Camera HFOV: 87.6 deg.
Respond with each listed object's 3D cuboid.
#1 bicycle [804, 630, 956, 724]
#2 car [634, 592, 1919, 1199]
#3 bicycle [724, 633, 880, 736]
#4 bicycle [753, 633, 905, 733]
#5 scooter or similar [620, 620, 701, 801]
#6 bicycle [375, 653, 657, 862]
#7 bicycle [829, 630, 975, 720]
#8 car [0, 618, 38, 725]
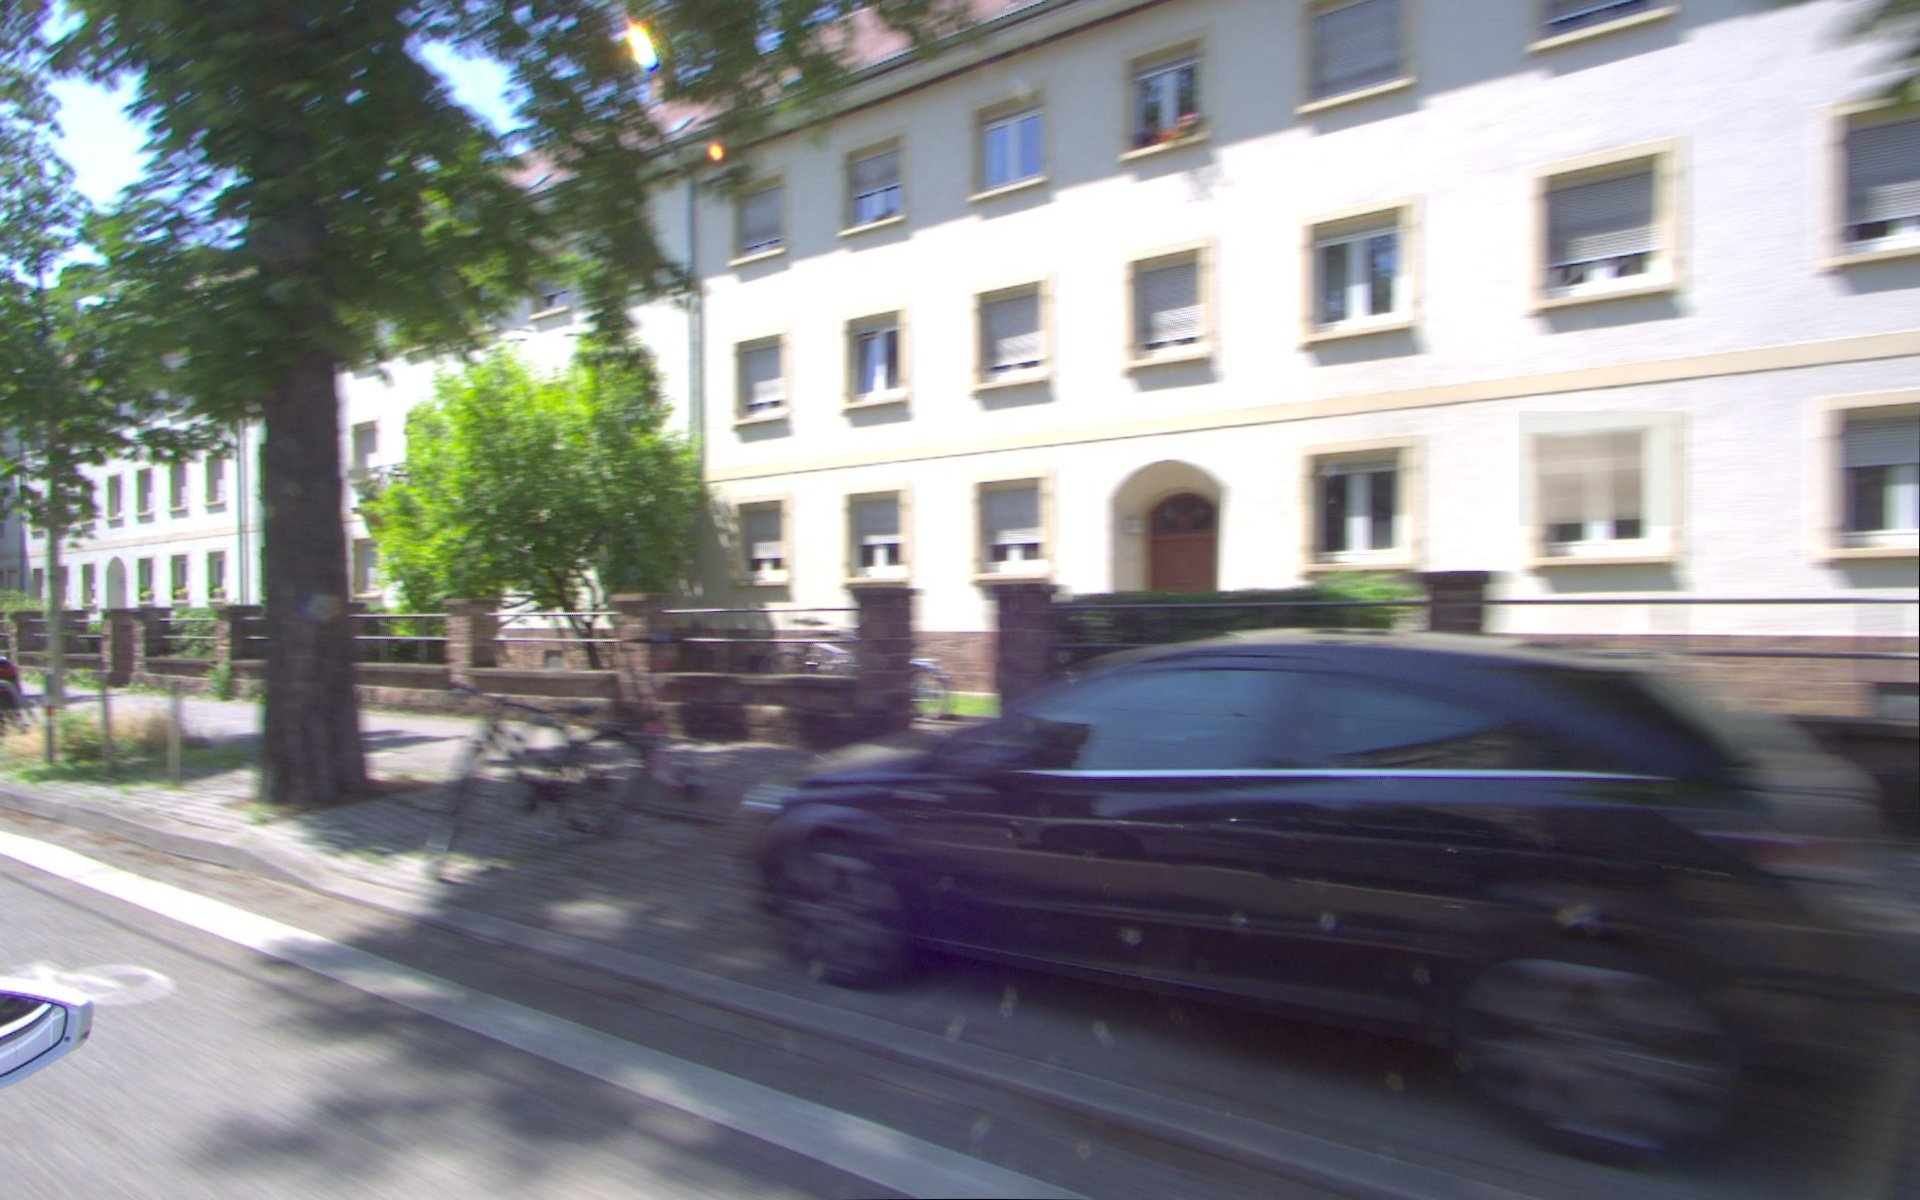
[{"bbox_3d":[-0.995,0.921,12.319,1.894,1.092,0.478,-1,-1,27],"label":"bicycle"},{"bbox_3d":[0.816,0.742,4.134,4.292,1.437,1.693,0,-1,30],"label":"car"},{"bbox_3d":[-1.803,0.915,11.269,1.897,1.092,0.478,-1,-2,32],"label":"bicycle"},{"bbox_3d":[-1.553,0.934,11.678,1.897,1.092,0.478,-1,-2,32],"label":"bicycle"},{"bbox_3d":[-2.369,0.815,7.850,0.374,1.230,1.241,1,3,-27],"label":"scooter or similar"},{"bbox_3d":[-2.721,0.906,6.335,0.596,1.092,1.653,0,-1,25],"label":"bicycle"},{"bbox_3d":[-0.757,0.929,12.792,1.894,1.092,0.478,-1,-1,27],"label":"bicycle"},{"bbox_3d":[-15.246,0.973,14.269,4.789,1.445,1.767,-1,-1,30],"label":"car"}]
